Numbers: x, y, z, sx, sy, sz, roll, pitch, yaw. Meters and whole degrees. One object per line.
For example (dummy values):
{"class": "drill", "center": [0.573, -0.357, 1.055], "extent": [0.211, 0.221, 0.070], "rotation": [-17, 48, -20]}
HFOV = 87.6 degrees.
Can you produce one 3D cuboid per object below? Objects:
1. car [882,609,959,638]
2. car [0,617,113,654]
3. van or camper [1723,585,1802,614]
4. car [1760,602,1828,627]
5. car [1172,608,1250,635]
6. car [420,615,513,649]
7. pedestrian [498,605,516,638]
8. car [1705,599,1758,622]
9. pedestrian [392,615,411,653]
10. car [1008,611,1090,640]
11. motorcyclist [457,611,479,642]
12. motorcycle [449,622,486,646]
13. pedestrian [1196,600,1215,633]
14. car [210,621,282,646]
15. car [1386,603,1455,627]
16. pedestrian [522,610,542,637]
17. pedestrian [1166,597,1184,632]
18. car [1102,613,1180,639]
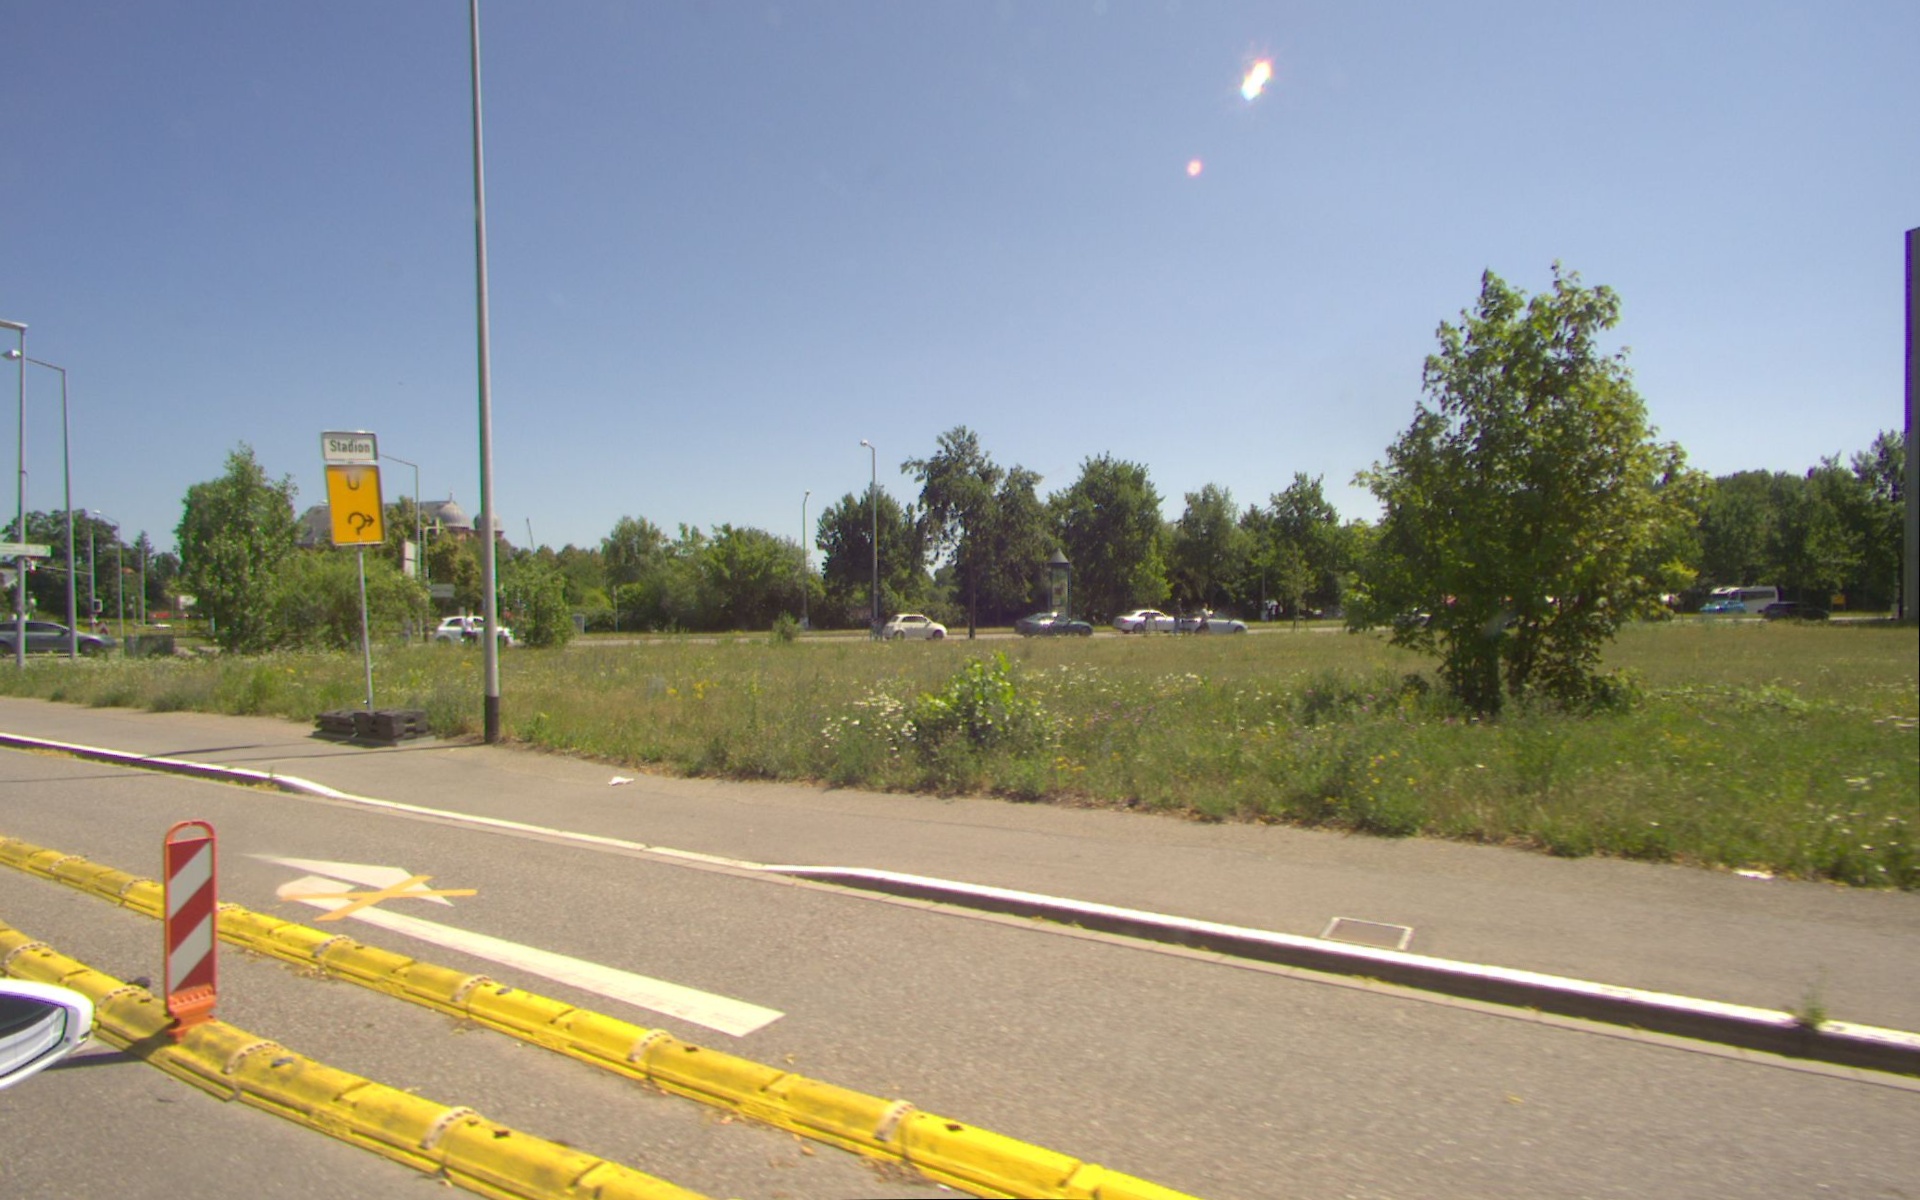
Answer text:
{"class": "car", "center": [-2.218, 1.322, 55.593], "extent": [3.935, 1.572, 1.735], "rotation": [0, -1, -23]}
{"class": "car", "center": [-36.282, 1.387, 39.583], "extent": [4.167, 1.408, 1.883], "rotation": [1, -2, -44]}
{"class": "van or camper", "center": [77.979, -0.006, 97.284], "extent": [7.383, 2.728, 2.508], "rotation": [0, -1, -20]}
{"class": "car", "center": [59.650, 1.072, 71.637], "extent": [3.928, 1.772, 1.806], "rotation": [0, -1, -15]}
{"class": "car", "center": [14.656, 1.252, 58.528], "extent": [3.999, 1.524, 1.999], "rotation": [0, -1, -12]}
{"class": "car", "center": [-23.854, 1.534, 48.417], "extent": [3.942, 1.572, 1.732], "rotation": [1, -1, -30]}
{"class": "pedestrian", "center": [-25.999, 1.248, 57.497], "extent": [0.726, 1.894, 0.648], "rotation": [0, -1, 33]}
{"class": "car", "center": [70.356, 0.937, 91.304], "extent": [3.931, 2.040, 1.996], "rotation": [0, -1, -19]}
{"class": "pedestrian", "center": [-23.016, 1.400, 41.261], "extent": [0.506, 1.583, 0.496], "rotation": [0, -1, 32]}
{"class": "car", "center": [5.106, 1.459, 57.222], "extent": [4.338, 1.572, 1.735], "rotation": [2, -2, -23]}
{"class": "motorcyclist", "center": [-20.597, 1.120, 41.921], "extent": [0.570, 1.306, 0.615], "rotation": [0, -1, 3]}
{"class": "motorcycle", "center": [-20.572, 1.410, 41.876], "extent": [0.619, 0.982, 1.709], "rotation": [0, -1, 3]}
{"class": "pedestrian", "center": [11.831, 0.788, 48.227], "extent": [0.724, 1.583, 0.497], "rotation": [0, -1, -18]}
{"class": "car", "center": [-51.111, 2.389, 71.718], "extent": [4.122, 1.695, 1.947], "rotation": [-1, 0, 12]}
{"class": "car", "center": [30.140, 0.988, 65.491], "extent": [3.929, 1.572, 1.738], "rotation": [0, -1, -16]}
{"class": "pedestrian", "center": [-25.041, 1.366, 58.597], "extent": [0.811, 1.583, 0.791], "rotation": [-1, -1, 33]}
{"class": "pedestrian", "center": [10.624, 0.714, 49.550], "extent": [0.724, 1.712, 0.497], "rotation": [0, -1, -18]}
{"class": "car", "center": [11.419, 1.640, 63.240], "extent": [4.559, 1.572, 1.738], "rotation": [0, -1, -16]}
